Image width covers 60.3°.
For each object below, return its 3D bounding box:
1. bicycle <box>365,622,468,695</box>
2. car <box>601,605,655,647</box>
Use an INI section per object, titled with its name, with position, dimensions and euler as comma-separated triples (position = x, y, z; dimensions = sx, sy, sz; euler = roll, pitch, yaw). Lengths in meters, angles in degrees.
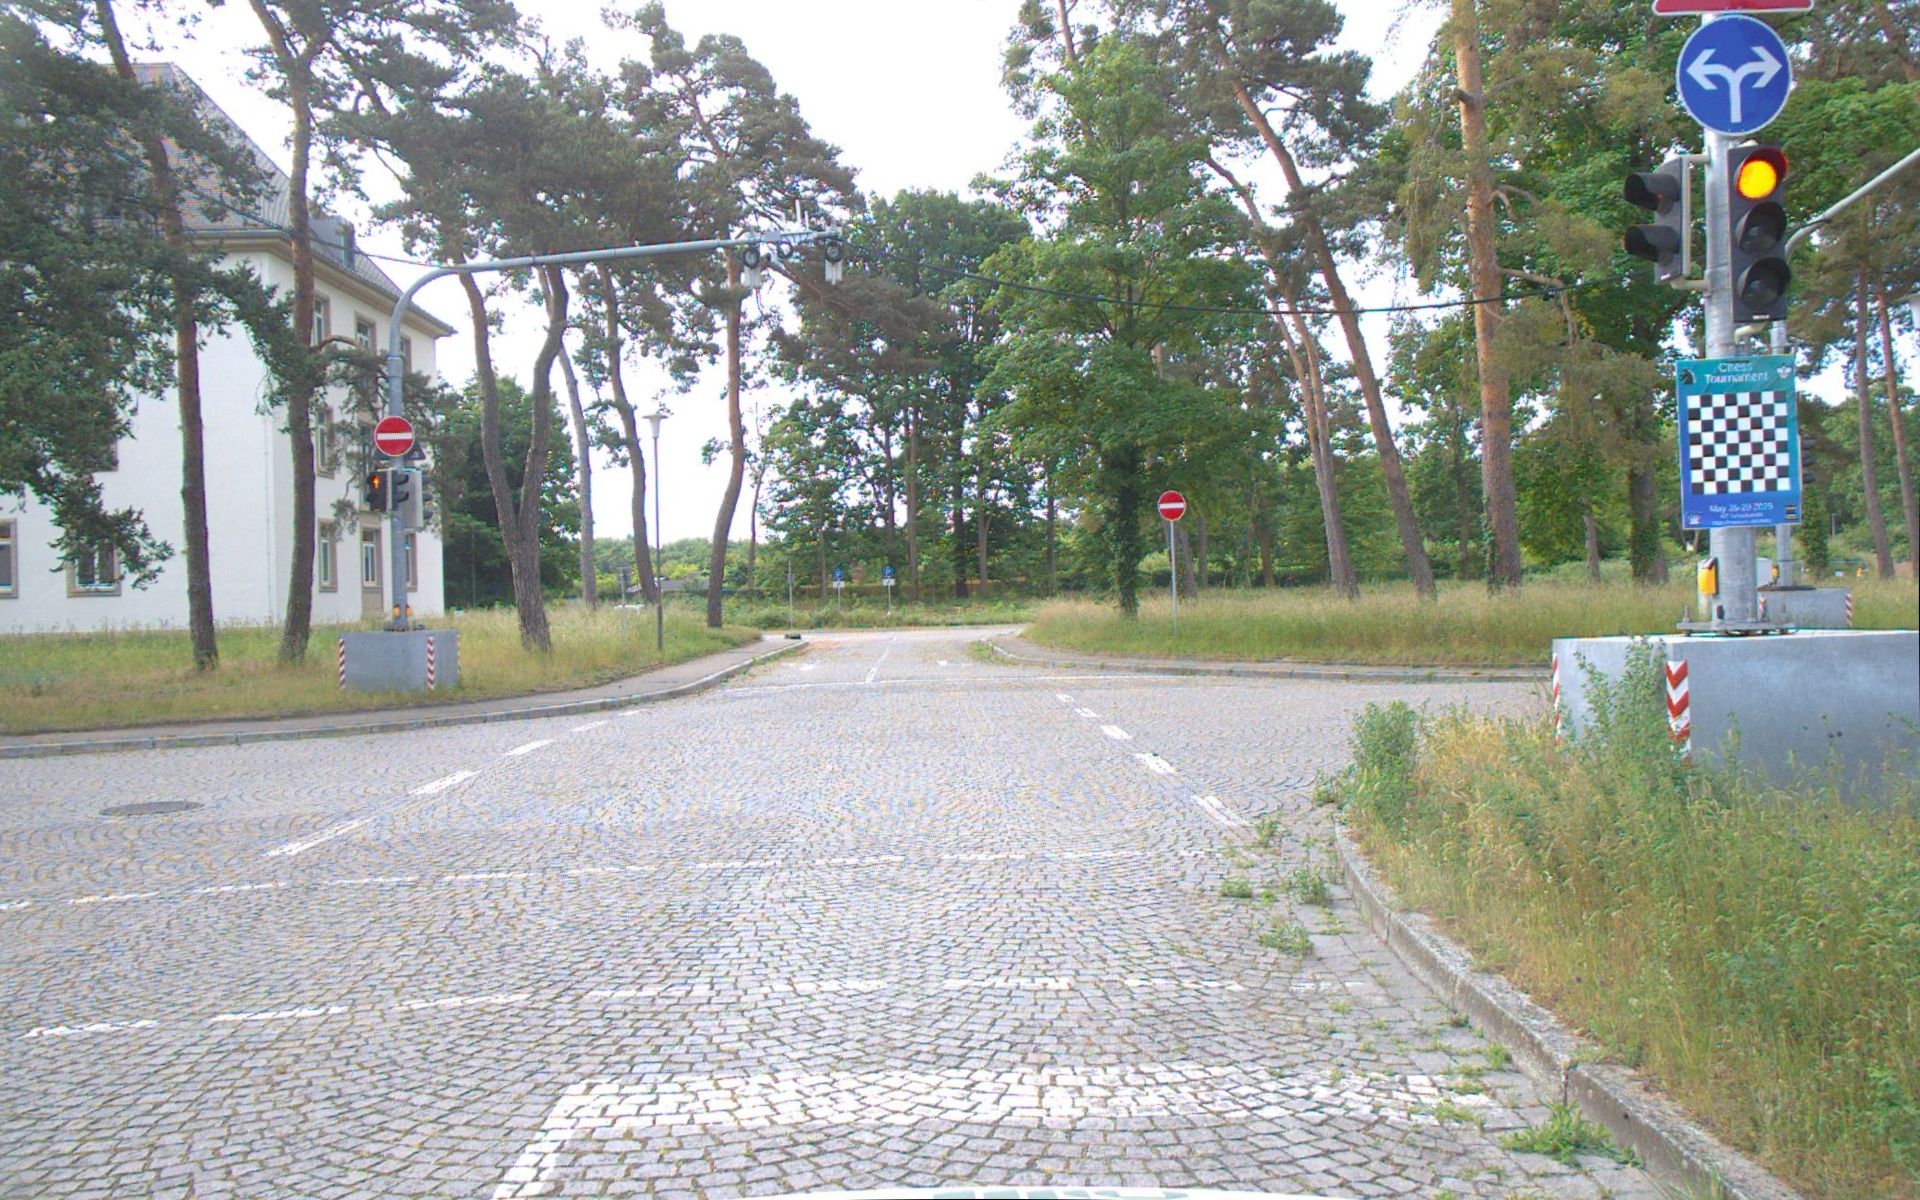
[bicycle]
position = -8.680, 0.928, 26.433
dimensions = 1.435, 1.083, 0.516
euler = -2, 1, -4
[car]
position = -15.270, 1.188, 76.319
dimensions = 1.954, 1.878, 3.997
euler = 0, 0, -4
